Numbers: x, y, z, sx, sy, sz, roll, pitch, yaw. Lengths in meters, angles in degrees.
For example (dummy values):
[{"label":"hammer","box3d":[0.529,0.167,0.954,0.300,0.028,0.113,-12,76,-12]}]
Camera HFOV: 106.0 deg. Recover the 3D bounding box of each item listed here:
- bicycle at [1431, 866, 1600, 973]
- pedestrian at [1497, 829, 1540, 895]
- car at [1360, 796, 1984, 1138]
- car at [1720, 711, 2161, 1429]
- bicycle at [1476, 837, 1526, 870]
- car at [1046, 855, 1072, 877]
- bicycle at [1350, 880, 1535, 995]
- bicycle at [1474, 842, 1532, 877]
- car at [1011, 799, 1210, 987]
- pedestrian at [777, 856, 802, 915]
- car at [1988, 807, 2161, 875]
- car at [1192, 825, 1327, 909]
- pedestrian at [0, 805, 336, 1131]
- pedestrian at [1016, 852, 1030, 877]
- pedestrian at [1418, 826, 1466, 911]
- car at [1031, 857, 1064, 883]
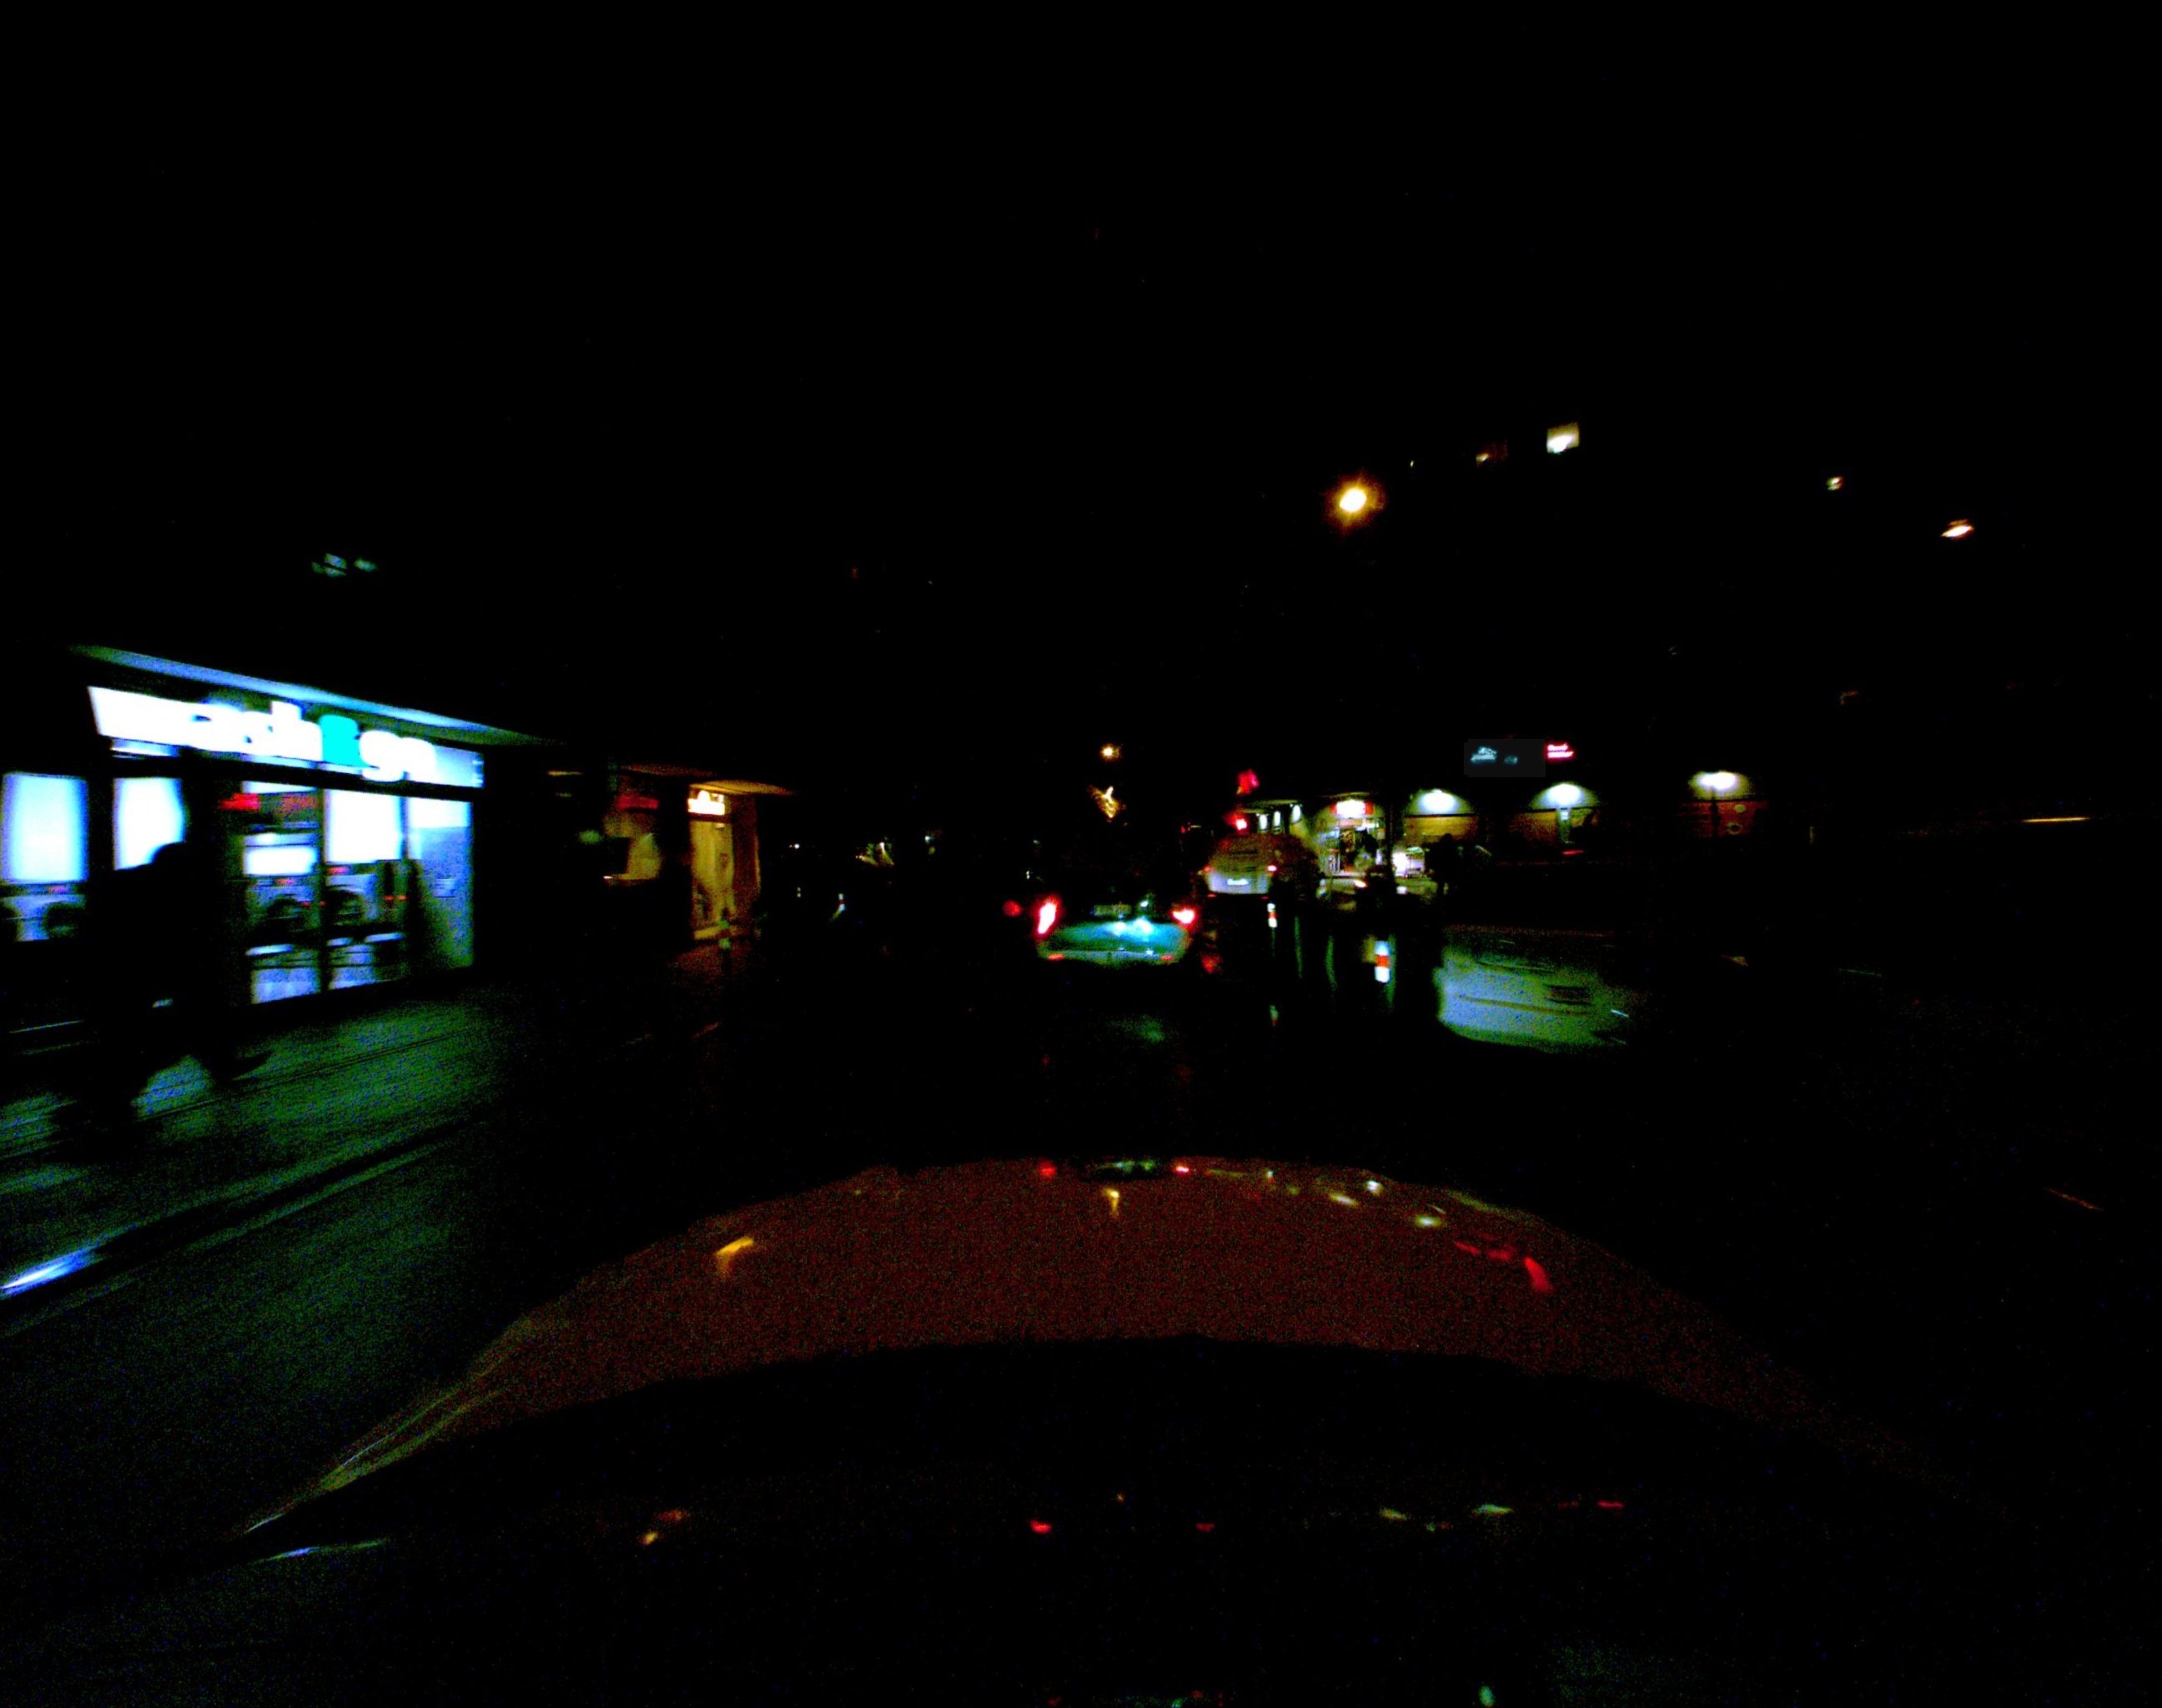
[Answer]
[{"label":"bicycle","box3d":[4.593,0.702,8.736,0.337,1.027,1.631,-1,-4,-27]},{"label":"pedestrian","box3d":[12.623,0.227,23.478,0.867,1.833,0.990,-3,-1,38]},{"label":"car","box3d":[4.252,0.515,5.770,4.272,1.573,1.756,-4,0,-27]},{"label":"car","box3d":[4.153,0.416,2.907,3.754,1.712,1.753,-4,0,-33]},{"label":"bicycle","box3d":[15.565,-0.005,30.196,1.626,1.174,0.386,-1,-2,30]},{"label":"car","box3d":[-1.560,0.845,58.084,1.580,1.449,3.505,-1,0,2]},{"label":"bicycle","box3d":[3.534,0.784,8.082,0.338,1.026,1.626,-3,1,-44]},{"label":"bicycle","box3d":[15.094,0.201,29.152,1.764,1.174,0.386,-2,0,30]},{"label":"car","box3d":[0.418,0.436,11.184,2.114,1.991,4.603,-2,0,2]},{"label":"pedestrian","box3d":[-9.527,1.017,26.617,0.656,1.909,0.623,1,-2,-27]},{"label":"car","box3d":[26.013,-0.288,20.757,1.745,1.578,3.694,0,-1,1]},{"label":"car","box3d":[4.791,0.291,21.238,2.102,1.922,4.856,-1,0,29]},{"label":"pedestrian","box3d":[-6.129,0.666,5.427,0.952,1.863,1.415,-2,0,1]},{"label":"pedestrian","box3d":[-4.059,0.730,56.997,0.799,1.766,1.018,0,-1,8]},{"label":"pedestrian","box3d":[7.679,0.314,17.335,0.820,1.771,0.602,-1,-1,14]},{"label":"car","box3d":[-1.973,0.905,49.122,1.580,1.463,4.026,1,0,2]}]
